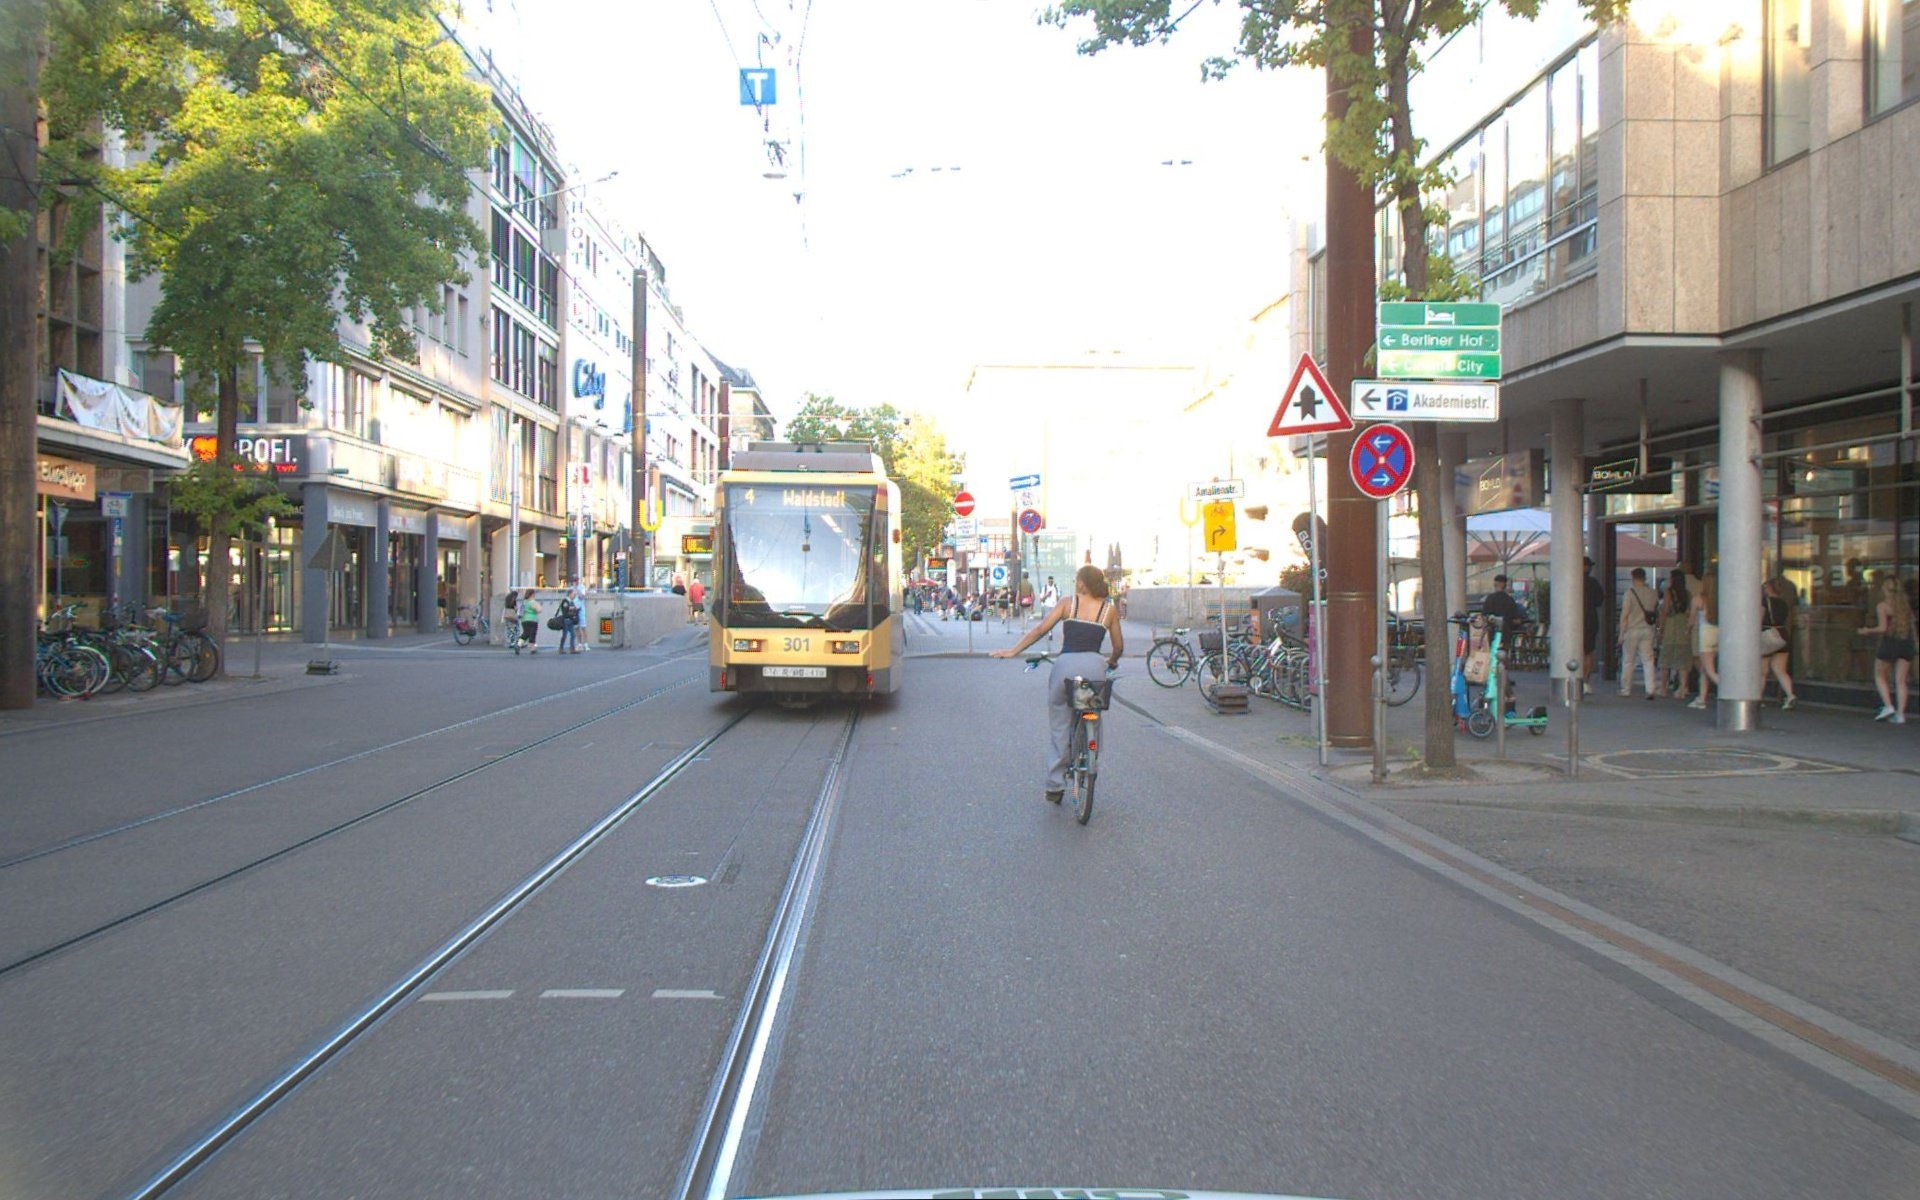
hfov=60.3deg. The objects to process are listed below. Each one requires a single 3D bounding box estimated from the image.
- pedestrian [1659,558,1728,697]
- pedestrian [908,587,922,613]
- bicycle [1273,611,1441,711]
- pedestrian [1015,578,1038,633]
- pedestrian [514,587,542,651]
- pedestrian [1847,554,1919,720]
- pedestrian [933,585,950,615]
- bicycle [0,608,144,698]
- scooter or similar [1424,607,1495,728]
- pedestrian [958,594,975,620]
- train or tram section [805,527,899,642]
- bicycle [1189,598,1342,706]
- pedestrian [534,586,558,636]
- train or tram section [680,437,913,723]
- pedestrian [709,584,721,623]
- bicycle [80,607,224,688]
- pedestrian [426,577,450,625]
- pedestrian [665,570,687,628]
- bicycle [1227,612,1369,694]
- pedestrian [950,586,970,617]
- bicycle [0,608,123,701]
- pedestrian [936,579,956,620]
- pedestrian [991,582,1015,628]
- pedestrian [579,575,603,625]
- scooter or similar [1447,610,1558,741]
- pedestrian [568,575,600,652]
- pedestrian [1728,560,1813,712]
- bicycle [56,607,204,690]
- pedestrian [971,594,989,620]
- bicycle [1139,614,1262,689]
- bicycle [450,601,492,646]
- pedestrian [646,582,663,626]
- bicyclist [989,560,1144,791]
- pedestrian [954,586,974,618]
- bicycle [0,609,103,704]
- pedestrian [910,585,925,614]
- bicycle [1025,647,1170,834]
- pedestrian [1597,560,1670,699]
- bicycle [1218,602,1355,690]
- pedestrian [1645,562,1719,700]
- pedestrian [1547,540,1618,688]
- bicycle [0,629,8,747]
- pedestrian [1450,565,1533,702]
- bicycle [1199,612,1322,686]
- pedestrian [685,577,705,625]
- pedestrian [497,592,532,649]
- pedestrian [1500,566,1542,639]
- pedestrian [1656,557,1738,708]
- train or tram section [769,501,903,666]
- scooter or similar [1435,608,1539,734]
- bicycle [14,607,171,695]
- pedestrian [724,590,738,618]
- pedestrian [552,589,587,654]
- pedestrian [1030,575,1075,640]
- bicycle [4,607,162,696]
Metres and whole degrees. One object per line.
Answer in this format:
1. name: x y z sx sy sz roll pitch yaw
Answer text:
1. pedestrian: 10.165 0.375 22.939 0.649 1.881 0.719 -1 0 3
2. pedestrian: -2.971 -0.008 109.482 0.775 1.690 0.770 0 0 9
3. bicycle: 5.128 0.776 21.391 1.958 1.175 0.724 -2 0 -7
4. pedestrian: 2.115 0.173 52.683 0.703 1.756 0.709 0 -1 -2
5. pedestrian: -10.397 0.455 39.794 0.592 1.520 0.554 0 -1 -10
6. pedestrian: 10.080 0.391 17.938 0.559 1.762 0.617 -1 0 -3
7. pedestrian: -1.022 -0.011 91.834 0.775 1.690 0.770 0 0 9
8. bicycle: -11.269 0.660 20.784 1.736 1.063 0.489 2 0 -2
9. scooter or similar: 5.570 0.732 18.430 0.385 1.273 1.187 0 1 36
10. pedestrian: 0.312 0.322 79.952 0.777 1.243 0.768 0 0 -6
11. train or tram section: -3.487 -0.503 55.792 2.744 3.377 14.501 0 0 -2
12. bicycle: 4.116 0.689 22.345 1.878 1.356 0.724 -2 0 -7
13. pedestrian: -14.776 0.389 59.079 0.699 1.756 0.709 0 -1 -4
14. train or tram section: -2.248 -0.286 26.871 2.744 3.377 14.501 0 0 -2
15. pedestrian: -10.565 0.156 71.231 0.502 1.646 0.504 0 -1 -11
16. bicycle: -11.342 0.663 23.245 1.736 1.063 0.489 2 0 -2
17. pedestrian: -19.254 0.041 61.023 0.699 1.756 0.709 0 -1 -4
18. pedestrian: -9.606 -0.029 55.956 0.700 1.959 0.708 0 -1 -7
19. bicycle: 4.974 0.769 24.373 1.878 1.096 0.762 -2 0 -7
20. pedestrian: -0.005 0.089 87.785 0.752 1.606 0.794 0 0 27
21. bicycle: -11.250 0.659 20.213 1.736 1.063 0.489 2 0 -2
22. pedestrian: -0.666 -0.016 76.132 0.722 1.855 0.816 0 0 -17
23. pedestrian: 1.754 0.211 67.510 0.722 1.855 0.816 0 0 -17
24. pedestrian: -13.037 0.016 58.474 0.595 1.756 0.624 -1 -1 44
25. scooter or similar: 5.586 0.760 17.015 1.102 1.273 0.491 -1 1 -33
26. pedestrian: -9.581 0.344 42.138 0.759 1.960 0.708 0 -1 -10
27. pedestrian: 9.901 0.428 20.213 0.649 1.818 0.719 -1 0 -2
28. bicycle: -11.357 0.662 22.664 1.736 1.063 0.489 2 0 -2
29. pedestrian: 0.932 0.331 79.174 0.777 1.243 0.768 0 0 -6
30. bicycle: 3.835 0.807 26.431 1.816 1.128 0.666 -1 0 -5
31. bicycle: -13.112 0.619 44.395 0.488 1.127 1.801 0 2 3
32. pedestrian: -11.369 0.159 61.495 0.592 1.616 0.626 0 -1 -12
33. bicyclist: 0.723 0.507 11.578 0.976 1.528 0.857 2 0 -1
34. pedestrian: 0.205 0.085 83.681 0.752 1.606 0.794 0 0 27
35. bicycle: -11.236 0.659 19.722 1.736 1.063 0.489 2 0 -2
36. pedestrian: -2.461 -0.022 95.875 0.750 1.690 0.795 0 0 9
37. bicycle: 0.918 0.928 11.615 0.798 1.092 2.113 2 0 -1
38. pedestrian: 9.002 0.394 22.118 0.649 1.818 0.719 -1 0 -2
39. bicycle: 4.949 0.682 25.119 1.878 1.244 0.762 -2 0 -7
40. pedestrian: 9.696 0.405 22.228 0.649 1.818 0.719 -1 0 -2
41. pedestrian: 8.847 0.193 23.517 0.672 2.049 0.782 -1 0 -2
42. bicycle: -8.898 0.811 14.253 0.478 1.063 1.776 1 1 -5
43. pedestrian: 6.958 0.431 21.689 0.748 1.749 0.923 -1 0 -1
44. bicycle: 4.830 0.779 26.637 1.816 1.128 0.666 -1 0 -5
45. pedestrian: -9.467 0.041 59.090 0.700 1.727 0.784 0 -1 -8
46. pedestrian: -11.588 0.539 43.018 0.544 1.459 0.682 -1 -1 35
47. pedestrian: 14.220 0.056 41.938 0.791 1.855 0.806 0 1 2
48. pedestrian: 9.099 0.392 20.438 0.649 1.818 0.719 -1 0 -2
49. train or tram section: -2.864 -0.393 41.335 2.744 3.377 14.501 0 0 -2
50. scooter or similar: 5.656 0.743 17.736 1.176 1.273 0.389 -1 1 -32
51. bicycle: -11.318 0.661 21.604 1.736 1.063 0.489 2 0 -2
52. pedestrian: -11.655 0.199 84.189 0.693 1.403 0.720 0 -1 -3
53. pedestrian: -9.480 0.522 40.186 0.669 1.569 0.606 0 -1 6
54. pedestrian: 2.738 0.213 49.150 0.999 1.896 1.036 1 0 -21
55. bicycle: -11.312 0.660 21.361 1.736 1.063 0.489 2 0 -2
